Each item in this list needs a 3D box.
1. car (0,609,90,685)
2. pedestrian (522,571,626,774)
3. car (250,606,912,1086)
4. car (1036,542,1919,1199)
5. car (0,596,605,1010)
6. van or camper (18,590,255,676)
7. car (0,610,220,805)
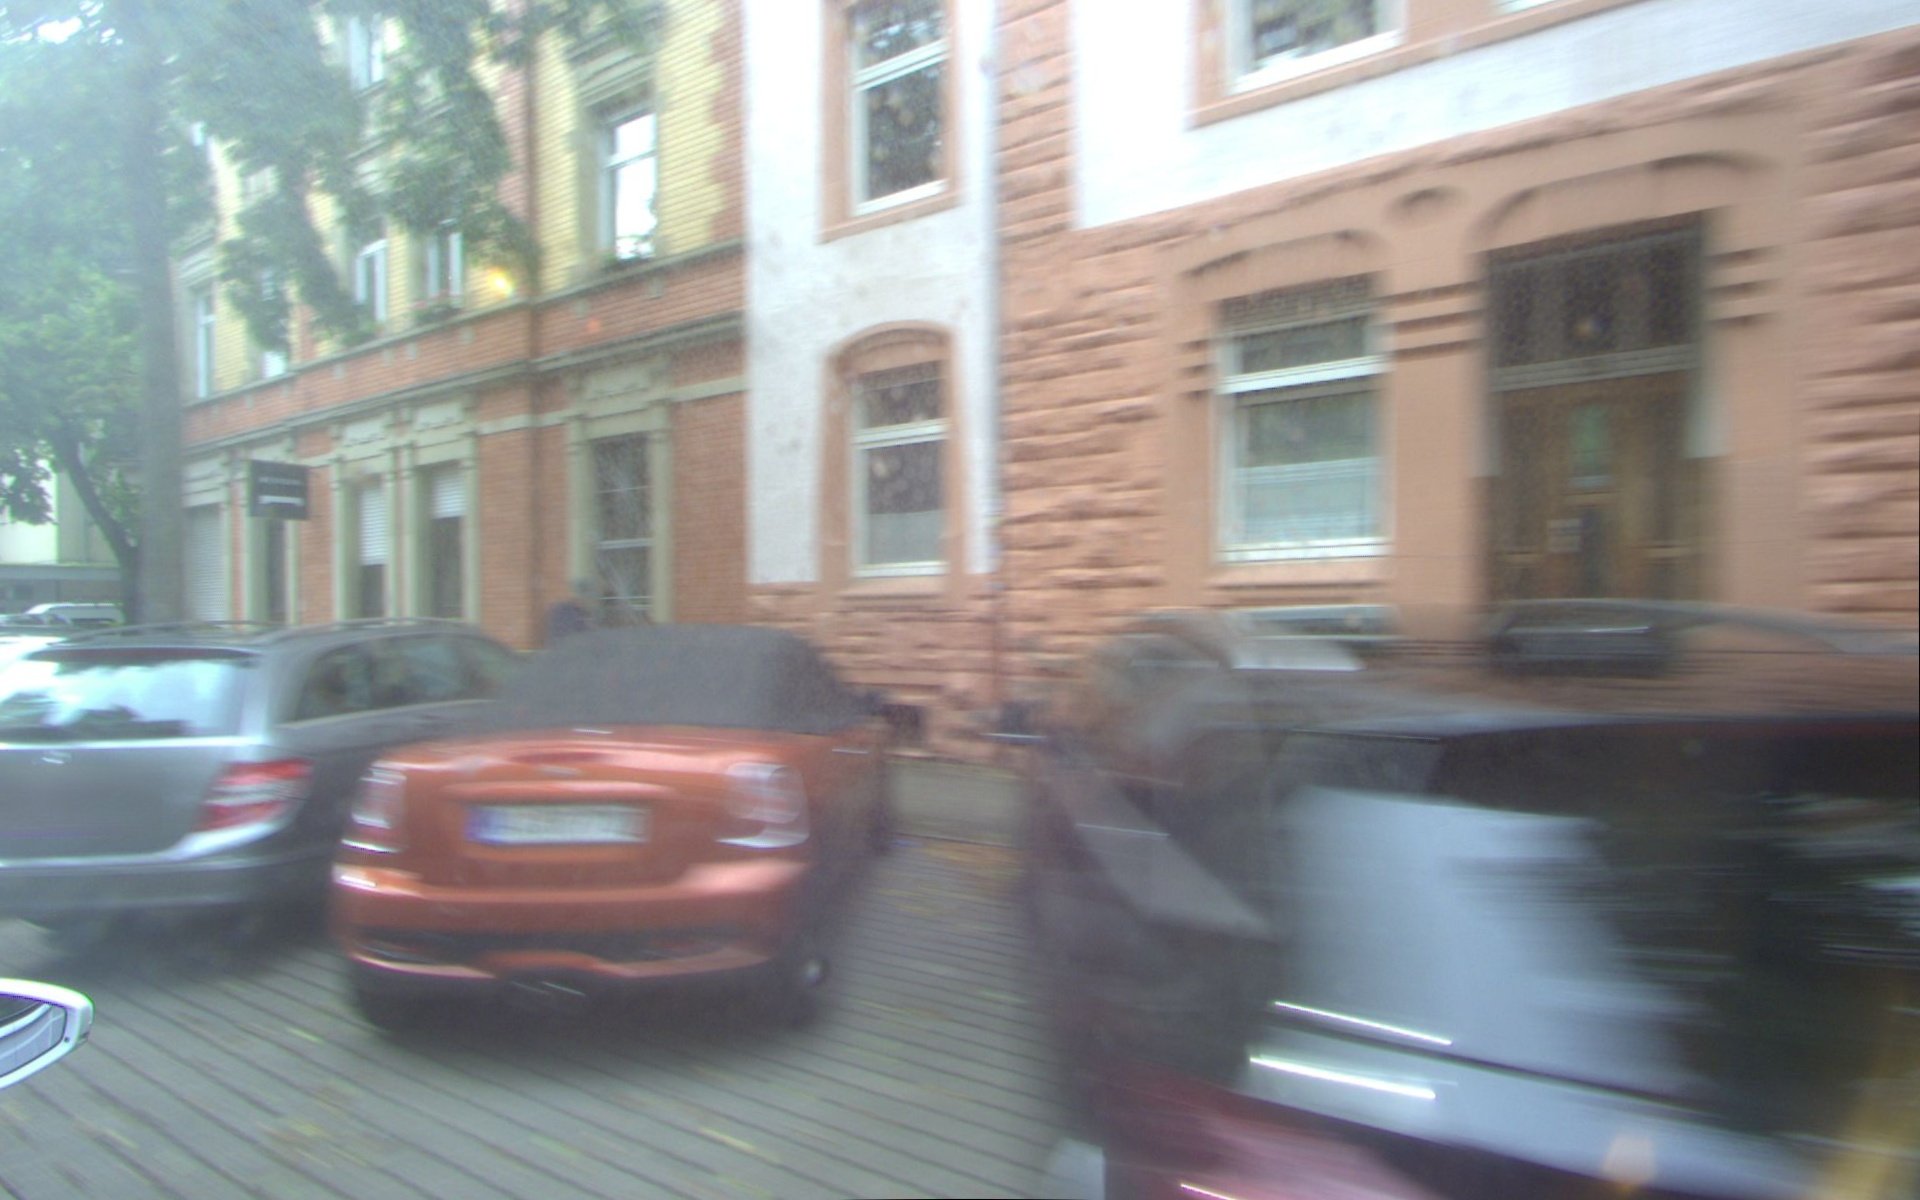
[{"bbox_3d":[-24.261,1.174,25.925,3.947,1.843,1.765,-1,-1,35],"label":"car"},{"bbox_3d":[-3.510,0.637,9.108,0.654,1.756,0.596,0,0,31],"label":"pedestrian"},{"bbox_3d":[-1.276,0.786,5.031,1.712,1.454,3.884,0,-1,2],"label":"car"},{"bbox_3d":[1.160,0.703,2.941,1.672,1.485,3.694,-1,-1,2],"label":"car"},{"bbox_3d":[-3.590,0.741,5.839,1.724,1.446,4.443,-2,1,-5],"label":"car"},{"bbox_3d":[-26.929,1.018,32.942,2.109,2.528,5.746,3,2,39],"label":"van or camper"},{"bbox_3d":[-9.150,0.894,9.658,4.416,1.506,1.760,-1,1,33],"label":"car"}]
